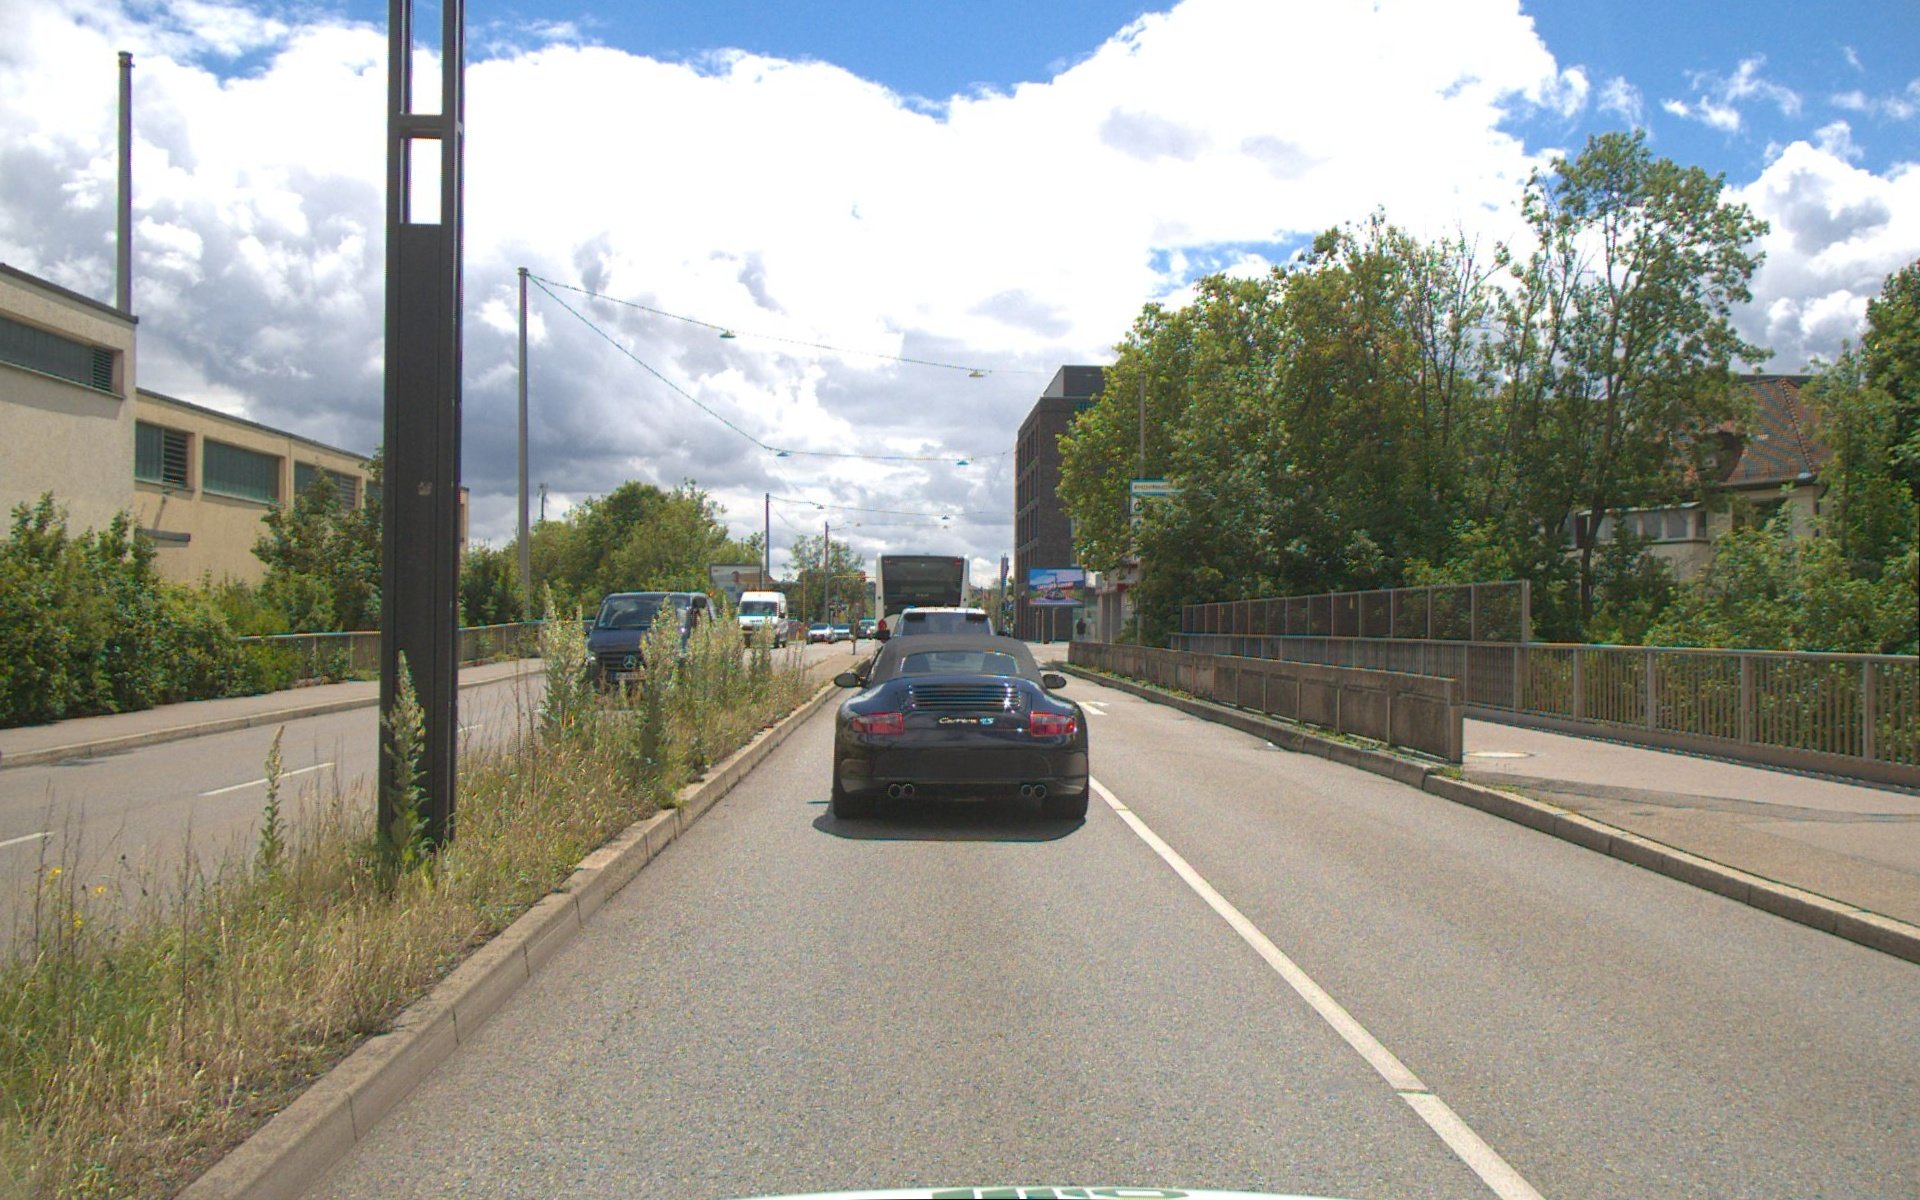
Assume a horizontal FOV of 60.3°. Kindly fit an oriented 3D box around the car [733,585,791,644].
[{"bbox_3d":[-9.159,0.673,77.007,2.025,2.616,6.819,-1,-1,-2],"label":"car"}]

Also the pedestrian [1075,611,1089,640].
[{"bbox_3d":[7.192,1.515,97.536,0.666,1.726,0.598,0,-1,24],"label":"pedestrian"}]

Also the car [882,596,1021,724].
[{"bbox_3d":[-0.154,0.806,24.572,1.841,1.622,4.229,2,1,-1],"label":"car"}]

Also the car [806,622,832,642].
[{"bbox_3d":[-9.936,2.234,116.825,1.604,1.387,4.193,0,-1,-2],"label":"car"}]

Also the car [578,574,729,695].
[{"bbox_3d":[-5.197,0.547,28.673,1.954,1.921,4.866,0,0,-3],"label":"car"}]

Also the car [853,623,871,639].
[{"bbox_3d":[-9.343,2.989,158.214,1.595,1.456,3.998,1,-1,-1],"label":"car"}]

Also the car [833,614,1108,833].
[{"bbox_3d":[-0.082,0.832,12.848,1.686,1.297,4.083,1,1,-6],"label":"car"}]

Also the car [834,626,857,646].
[{"bbox_3d":[-9.542,3.006,138.025,1.773,1.588,4.205,1,-1,-2],"label":"car"}]

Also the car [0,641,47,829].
[{"bbox_3d":[-7.569,0.978,10.156,1.719,1.298,3.999,-2,0,-1],"label":"car"}]

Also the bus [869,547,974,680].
[{"bbox_3d":[-1.042,0.152,49.231,2.634,3.311,12.058,2,2,0],"label":"bus"}]
